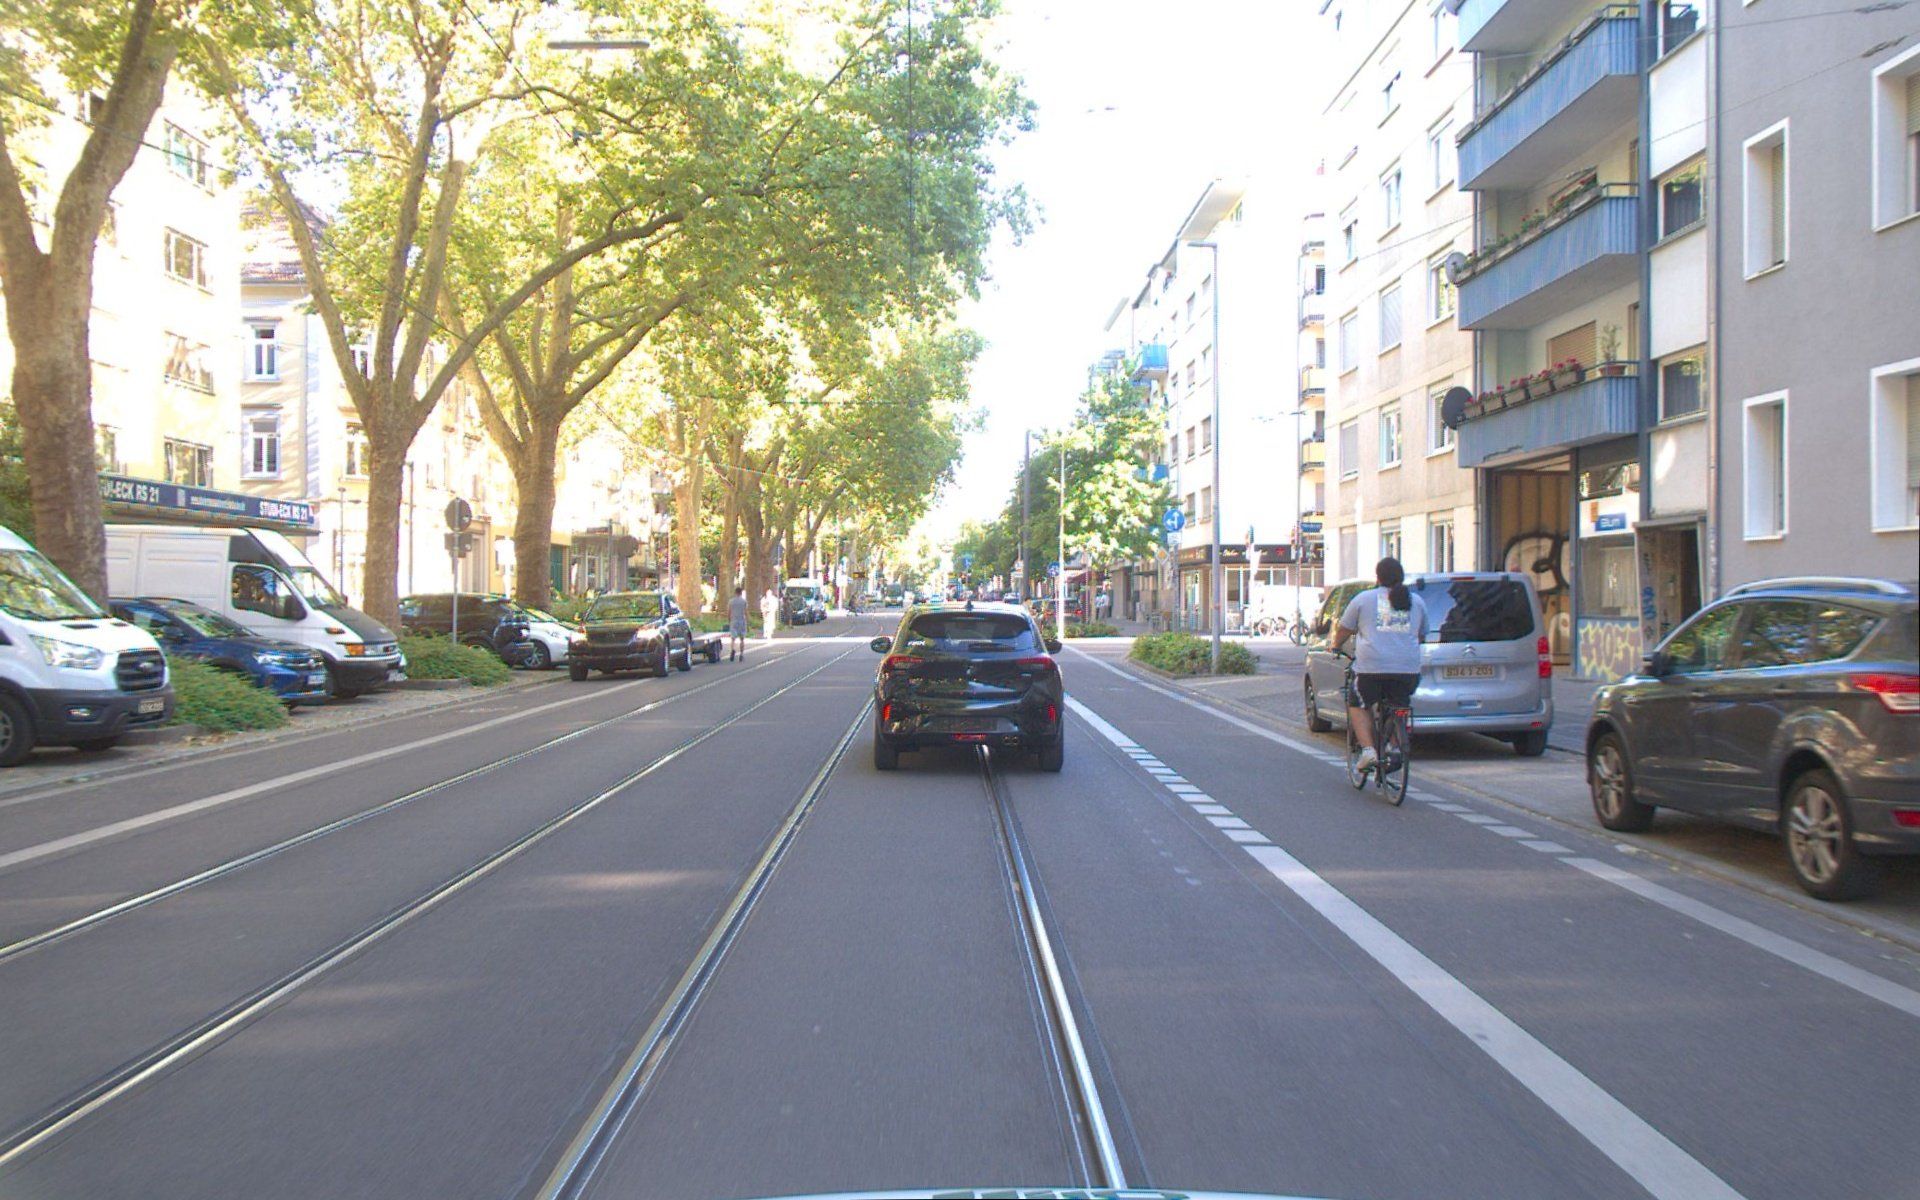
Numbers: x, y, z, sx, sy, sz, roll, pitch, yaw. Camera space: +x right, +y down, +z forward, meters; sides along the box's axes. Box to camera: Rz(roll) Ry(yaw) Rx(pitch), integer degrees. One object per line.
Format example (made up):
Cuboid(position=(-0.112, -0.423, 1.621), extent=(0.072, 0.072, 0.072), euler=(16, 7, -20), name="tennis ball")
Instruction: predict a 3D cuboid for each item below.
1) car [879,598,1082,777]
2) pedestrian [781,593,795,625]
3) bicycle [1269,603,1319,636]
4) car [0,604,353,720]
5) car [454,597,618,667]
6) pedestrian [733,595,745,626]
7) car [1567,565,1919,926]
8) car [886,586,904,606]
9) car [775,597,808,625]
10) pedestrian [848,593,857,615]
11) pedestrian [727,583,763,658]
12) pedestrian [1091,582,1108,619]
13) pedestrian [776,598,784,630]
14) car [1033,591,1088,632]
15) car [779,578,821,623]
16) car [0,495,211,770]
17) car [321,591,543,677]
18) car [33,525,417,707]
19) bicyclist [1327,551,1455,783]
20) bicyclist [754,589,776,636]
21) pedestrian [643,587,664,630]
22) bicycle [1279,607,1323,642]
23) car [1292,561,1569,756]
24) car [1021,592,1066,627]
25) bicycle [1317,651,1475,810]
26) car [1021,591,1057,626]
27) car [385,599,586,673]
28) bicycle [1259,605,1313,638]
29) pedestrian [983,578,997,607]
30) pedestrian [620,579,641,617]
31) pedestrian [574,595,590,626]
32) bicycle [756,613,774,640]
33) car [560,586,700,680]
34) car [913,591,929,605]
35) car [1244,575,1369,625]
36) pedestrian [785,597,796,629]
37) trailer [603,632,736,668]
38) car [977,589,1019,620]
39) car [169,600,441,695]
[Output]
Cuboid(position=(0.137, 0.728, 15.499), extent=(1.646, 1.447, 3.627), euler=(1, 0, -1), name="car")
Cuboid(position=(-8.864, 0.472, 85.174), extent=(0.670, 1.610, 0.557), euler=(0, 0, -3), name="pedestrian")
Cuboid(position=(11.869, 0.700, 58.760), extent=(1.734, 1.136, 0.614), euler=(0, 0, 13), name="bicycle")
Cuboid(position=(-10.518, 0.804, 22.349), extent=(3.937, 1.491, 1.872), euler=(0, 0, 0), name="car")
Cuboid(position=(-9.710, 0.717, 38.105), extent=(3.363, 1.557, 1.786), euler=(0, 0, -4), name="car")
Cuboid(position=(-11.319, 0.539, 84.725), extent=(0.499, 1.610, 0.524), euler=(0, 0, -18), name="pedestrian")
Cuboid(position=(5.414, 0.687, 10.116), extent=(1.731, 1.734, 4.282), euler=(0, 0, -2), name="car")
Cuboid(position=(-7.593, -0.457, 192.902), extent=(1.954, 2.250, 5.097), euler=(0, 0, -5), name="car")
Cuboid(position=(-9.563, 0.600, 94.223), extent=(1.719, 1.534, 3.997), euler=(0, 0, -4), name="car")
Cuboid(position=(-8.018, 0.296, 123.305), extent=(0.583, 1.618, 0.892), euler=(0, 0, -8), name="pedestrian")
Cuboid(position=(-5.170, 0.486, 39.662), extent=(0.699, 1.765, 0.909), euler=(-2, 0, -15), name="pedestrian")
Cuboid(position=(6.659, 0.027, 78.753), extent=(0.752, 1.779, 0.795), euler=(0, 0, 1), name="pedestrian")
Cuboid(position=(-9.190, 0.729, 84.429), extent=(0.339, 1.610, 0.508), euler=(0, 0, -2), name="pedestrian")
Cuboid(position=(4.116, 0.459, 68.244), extent=(1.684, 1.601, 4.081), euler=(0, 0, -5), name="car")
Cuboid(position=(-9.667, 0.005, 100.458), extent=(2.050, 2.629, 5.995), euler=(0, 0, -1), name="car")
Cuboid(position=(-10.460, 0.307, 16.230), extent=(5.251, 2.521, 2.057), euler=(0, 0, -1), name="car")
Cuboid(position=(-10.609, 0.661, 33.445), extent=(3.907, 1.676, 1.893), euler=(0, 0, -2), name="car")
Cuboid(position=(-10.962, 0.218, 24.983), extent=(4.846, 2.612, 2.081), euler=(0, 0, -4), name="car")
Cuboid(position=(3.432, 0.513, 13.230), extent=(0.770, 1.790, 0.914), euler=(0, 0, -1), name="bicyclist")
Cuboid(position=(-7.169, 0.452, 60.829), extent=(0.769, 1.707, 0.957), euler=(0, 0, -3), name="bicyclist")
Cuboid(position=(-13.642, 0.368, 73.611), extent=(0.887, 1.901, 0.643), euler=(0, 0, -7), name="pedestrian")
Cuboid(position=(10.510, 0.748, 51.028), extent=(0.787, 1.033, 1.966), euler=(-1, 0, -6), name="bicycle")
Cuboid(position=(5.149, 0.572, 18.839), extent=(1.820, 1.923, 4.925), euler=(0, 0, 1), name="car")
Cuboid(position=(3.709, 0.405, 73.788), extent=(1.683, 1.516, 3.680), euler=(0, 0, -2), name="car")
Cuboid(position=(3.439, 0.997, 13.225), extent=(0.687, 1.111, 1.989), euler=(2, 0, -1), name="bicycle")
Cuboid(position=(3.699, 0.389, 77.754), extent=(1.617, 1.601, 3.084), euler=(0, 0, 1), name="car")
Cuboid(position=(-10.305, 0.757, 36.134), extent=(3.907, 1.548, 1.770), euler=(0, 0, -2), name="car")
Cuboid(position=(11.756, 0.773, 59.691), extent=(1.797, 1.136, 0.703), euler=(0, 0, 2), name="bicycle")
Cuboid(position=(2.199, -0.519, 121.888), extent=(0.839, 2.048, 1.069), euler=(-5, -1, 0), name="pedestrian")
Cuboid(position=(-14.539, -0.071, 72.917), extent=(0.830, 1.661, 0.643), euler=(0, 0, -7), name="pedestrian")
Cuboid(position=(-17.759, 0.493, 77.703), extent=(0.540, 1.427, 0.649), euler=(0, 0, 3), name="pedestrian")
Cuboid(position=(-7.162, 0.968, 60.860), extent=(0.510, 0.979, 1.928), euler=(0, 0, -2), name="bicycle")
Cuboid(position=(-6.659, 0.628, 33.851), extent=(1.953, 1.729, 4.484), euler=(-2, 0, -1), name="car")
Cuboid(position=(-4.699, -0.264, 198.429), extent=(1.714, 1.680, 4.000), euler=(0, 0, 1), name="car")
Cuboid(position=(13.163, -0.003, 63.031), extent=(4.273, 1.863, 1.998), euler=(0, 0, -5), name="car")
Cuboid(position=(-8.644, 0.654, 84.369), extent=(0.496, 1.610, 0.526), euler=(0, 0, -1), name="pedestrian")
Cuboid(position=(-6.763, 1.154, 39.287), extent=(2.117, 0.643, 6.399), euler=(0, 0, -1), name="trailer")
Cuboid(position=(2.078, 0.255, 92.514), extent=(1.954, 1.668, 3.996), euler=(0, 0, -5), name="car")
Cuboid(position=(-10.796, 0.762, 27.489), extent=(3.777, 1.504, 1.860), euler=(0, 0, -2), name="car")
